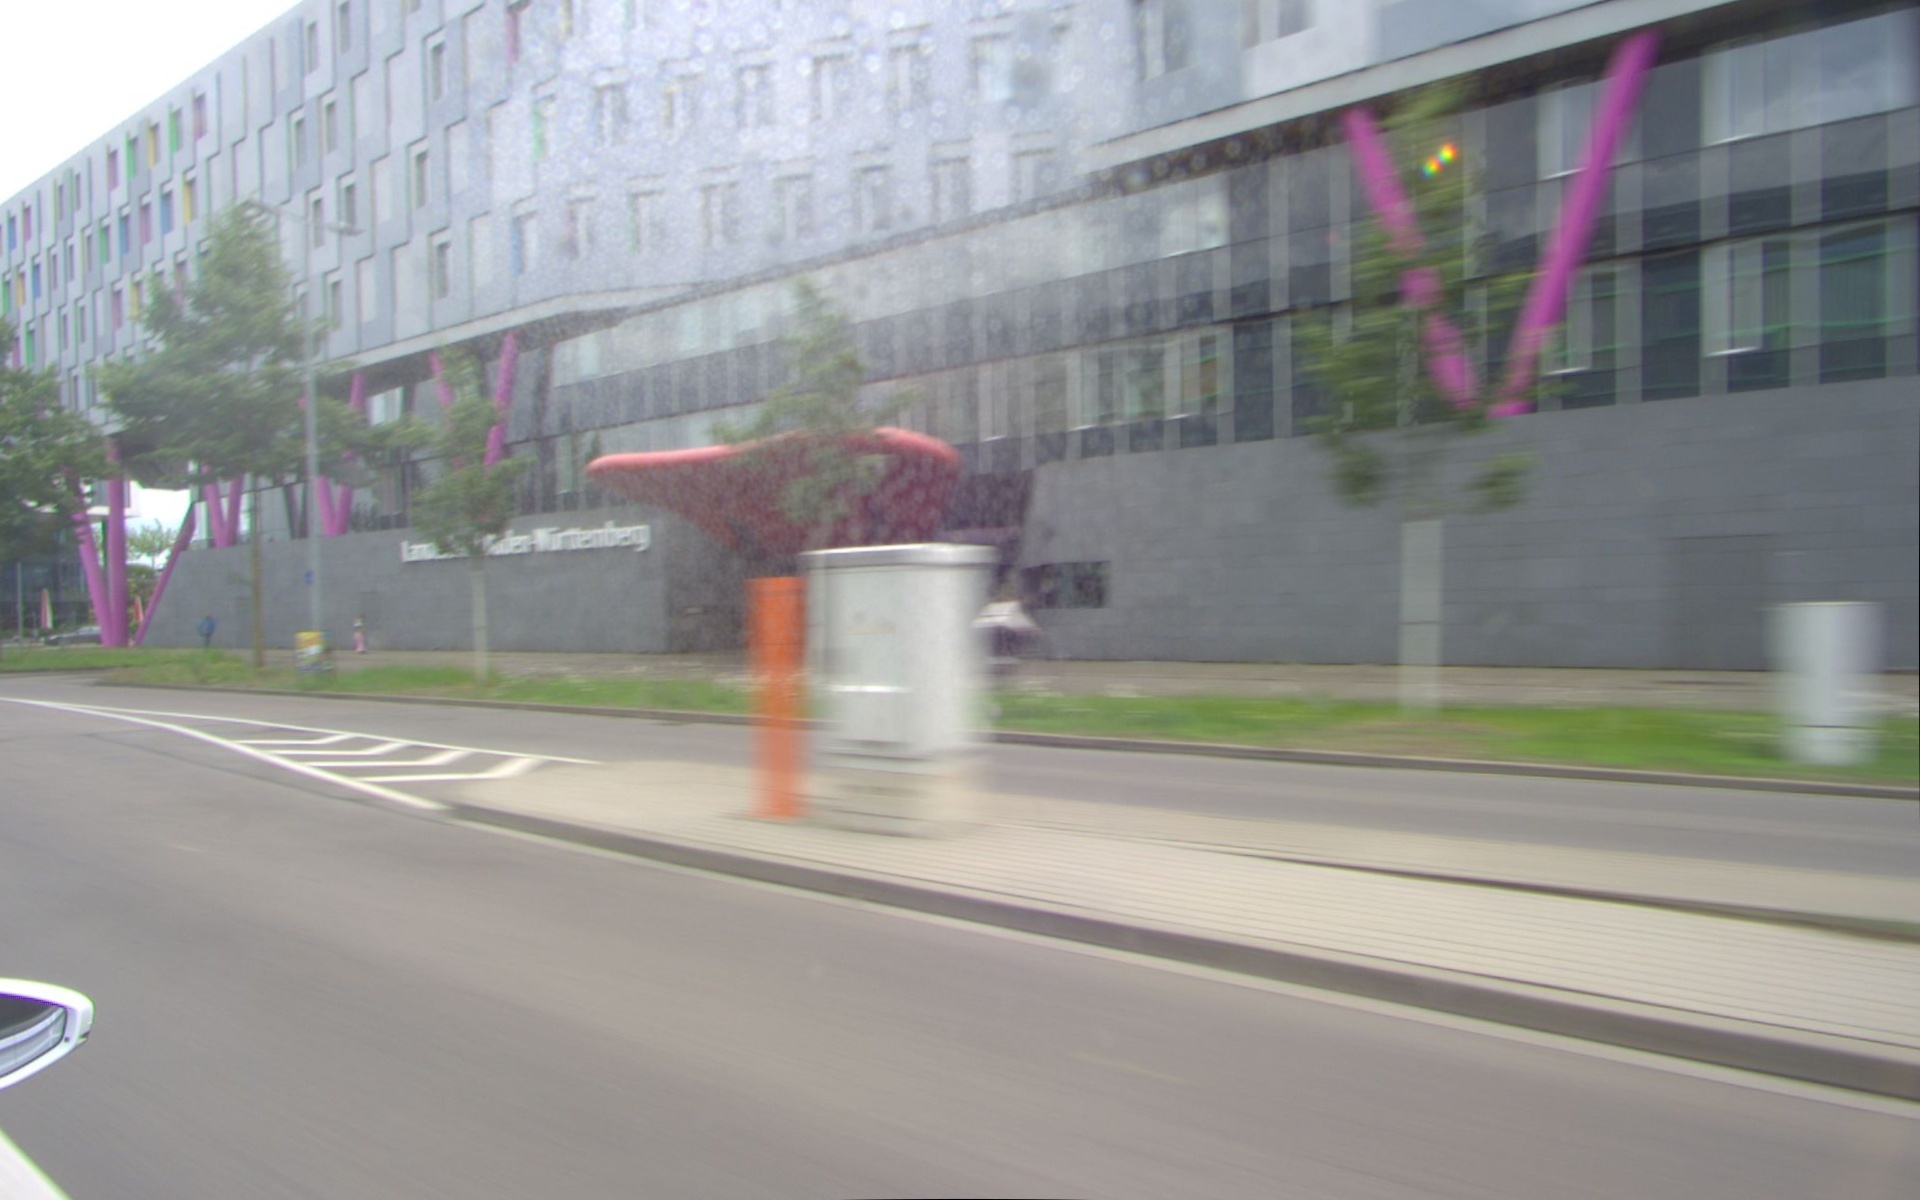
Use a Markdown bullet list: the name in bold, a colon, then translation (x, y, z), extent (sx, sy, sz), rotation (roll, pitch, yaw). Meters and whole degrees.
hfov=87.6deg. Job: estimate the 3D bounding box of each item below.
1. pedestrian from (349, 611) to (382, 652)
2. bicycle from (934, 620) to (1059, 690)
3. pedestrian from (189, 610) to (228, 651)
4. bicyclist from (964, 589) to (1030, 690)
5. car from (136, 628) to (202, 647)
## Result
- **pedestrian**: translation (-23.741, 1.242, 39.996), extent (0.902, 1.604, 0.782), rotation (0, 1, 33)
- **bicycle**: translation (0.662, 0.980, 18.434), extent (2.187, 1.210, 0.782), rotation (-1, 0, 30)
- **pedestrian**: translation (-34.089, 1.380, 45.420), extent (1.121, 1.794, 1.049), rotation (0, 1, 33)
- **bicyclist**: translation (0.686, 0.706, 18.415), extent (0.959, 1.810, 0.769), rotation (0, 1, 30)
- **car**: translation (-66.892, 3.127, 84.760), extent (1.734, 1.474, 4.070), rotation (-1, -1, 34)
